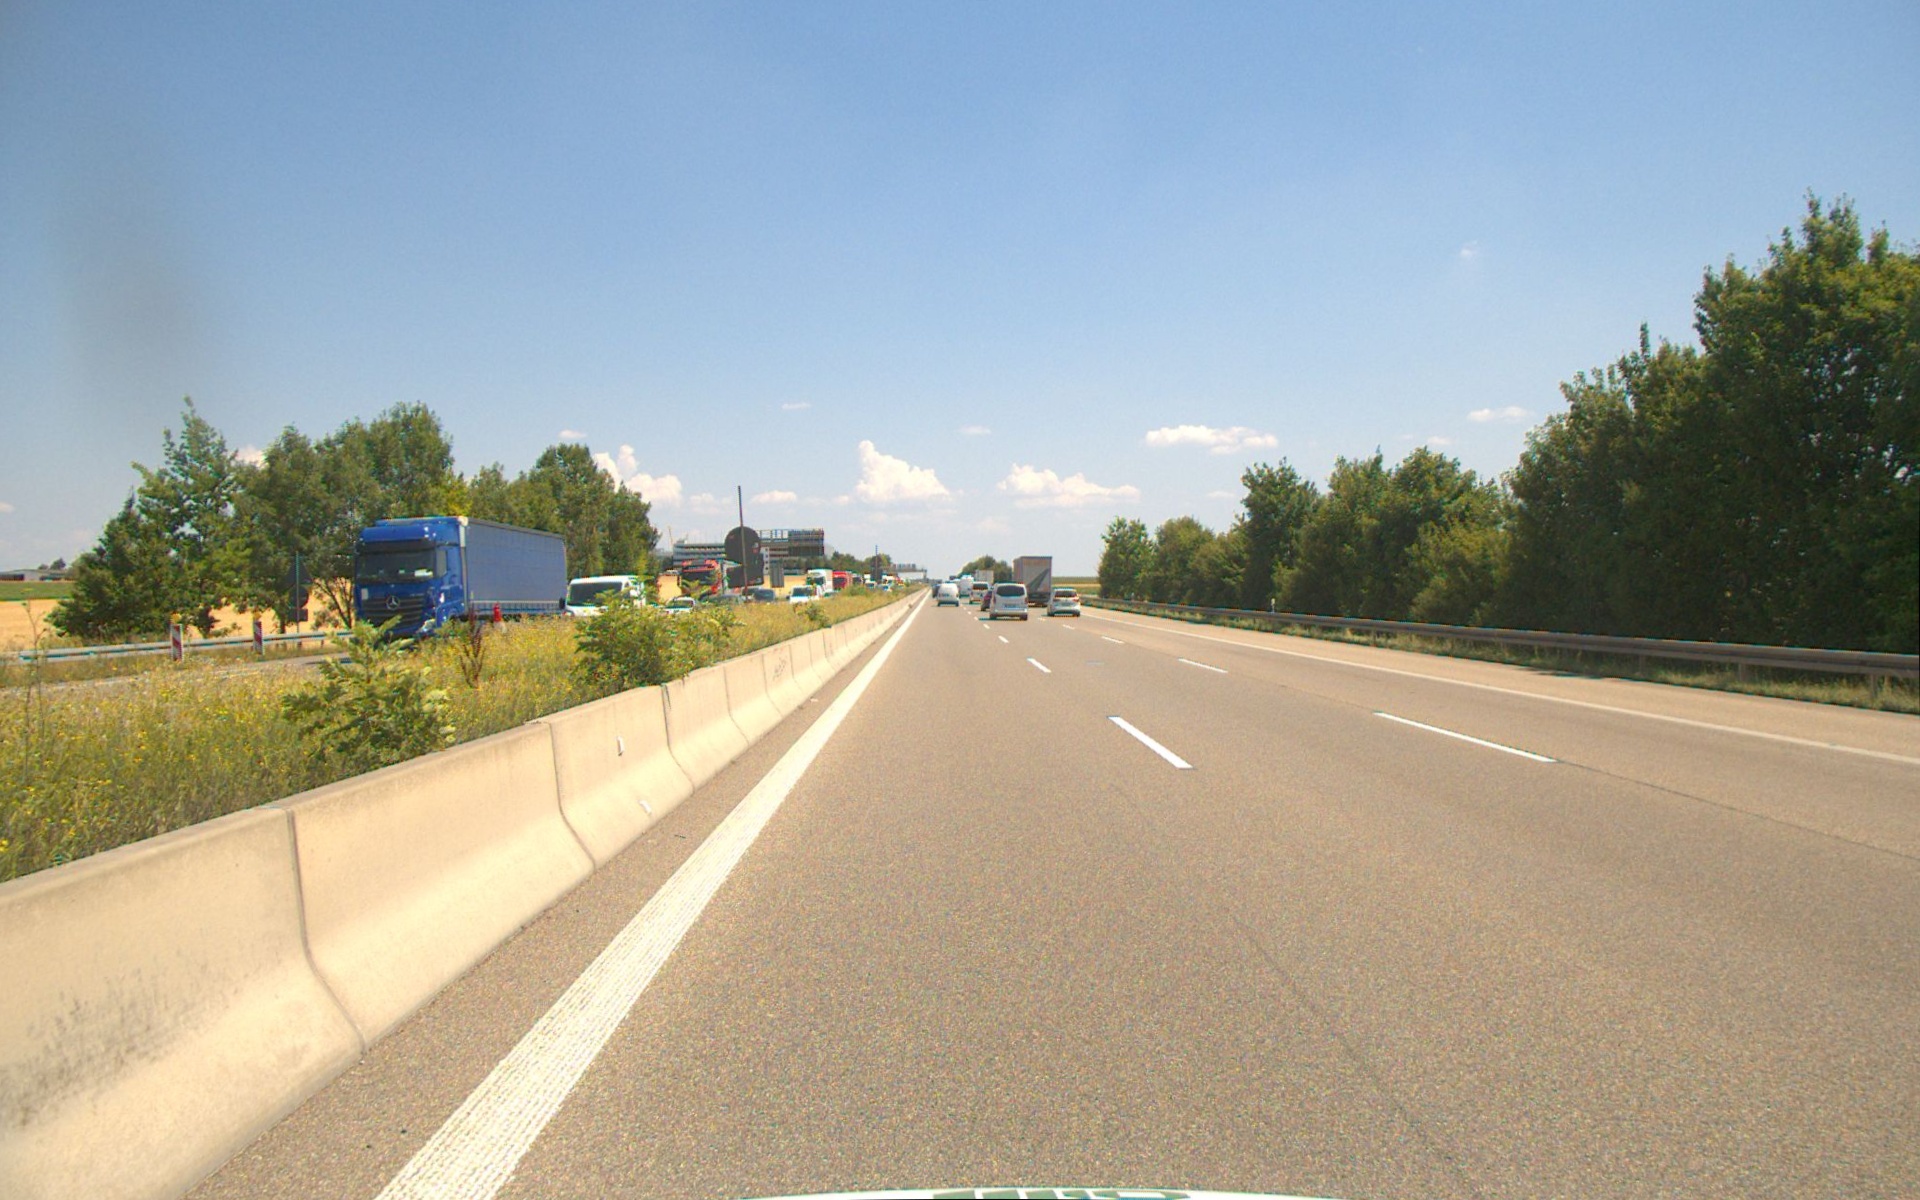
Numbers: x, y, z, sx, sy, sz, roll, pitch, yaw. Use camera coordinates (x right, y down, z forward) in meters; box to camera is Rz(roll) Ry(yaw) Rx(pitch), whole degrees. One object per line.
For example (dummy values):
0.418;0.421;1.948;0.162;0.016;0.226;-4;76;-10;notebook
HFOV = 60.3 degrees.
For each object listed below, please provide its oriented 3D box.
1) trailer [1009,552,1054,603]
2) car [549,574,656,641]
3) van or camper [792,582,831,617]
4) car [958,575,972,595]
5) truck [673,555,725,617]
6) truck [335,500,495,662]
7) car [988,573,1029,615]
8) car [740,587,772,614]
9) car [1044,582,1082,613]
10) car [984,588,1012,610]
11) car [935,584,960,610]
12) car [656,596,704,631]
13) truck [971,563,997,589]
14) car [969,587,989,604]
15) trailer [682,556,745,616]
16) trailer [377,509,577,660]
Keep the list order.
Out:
5.902;-1.790;137.994;3.211;4.036;9.110;0;-1;-1;trailer
-11.724;0.230;54.700;2.139;2.049;5.763;-1;0;1;car
-8.704;-0.059;97.181;1.953;1.967;5.200;-1;0;-2;van or camper
0.586;-1.810;205.744;1.737;2.434;3.999;0;-1;-1;car
-17.236;-0.932;109.485;2.798;3.922;3.999;-2;0;-1;truck
-15.834;-0.534;48.448;2.807;4.426;5.585;-1;0;-1;truck
2.508;-0.279;86.158;1.953;2.157;3.999;0;-1;-1;car
-13.513;0.033;109.654;1.660;1.757;4.260;-1;0;-2;car
6.153;-0.155;99.335;1.953;1.825;3.999;0;-1;-1;car
2.610;-0.048;113.895;1.737;1.473;3.999;0;-1;-1;car
-1.043;-0.257;134.641;1.953;2.049;3.999;0;-1;-1;car
-12.694;0.605;75.184;1.584;1.489;3.863;-1;0;-2;car
3.809;-3.730;261.595;3.738;3.973;9.578;-1;0;-1;truck
1.738;-0.389;153.317;1.737;1.473;3.999;0;-1;-1;car
-17.397;-0.994;117.558;2.798;3.922;12.183;-2;0;-1;trailer
-15.910;-0.508;55.943;2.824;4.426;13.640;-1;0;-1;trailer
